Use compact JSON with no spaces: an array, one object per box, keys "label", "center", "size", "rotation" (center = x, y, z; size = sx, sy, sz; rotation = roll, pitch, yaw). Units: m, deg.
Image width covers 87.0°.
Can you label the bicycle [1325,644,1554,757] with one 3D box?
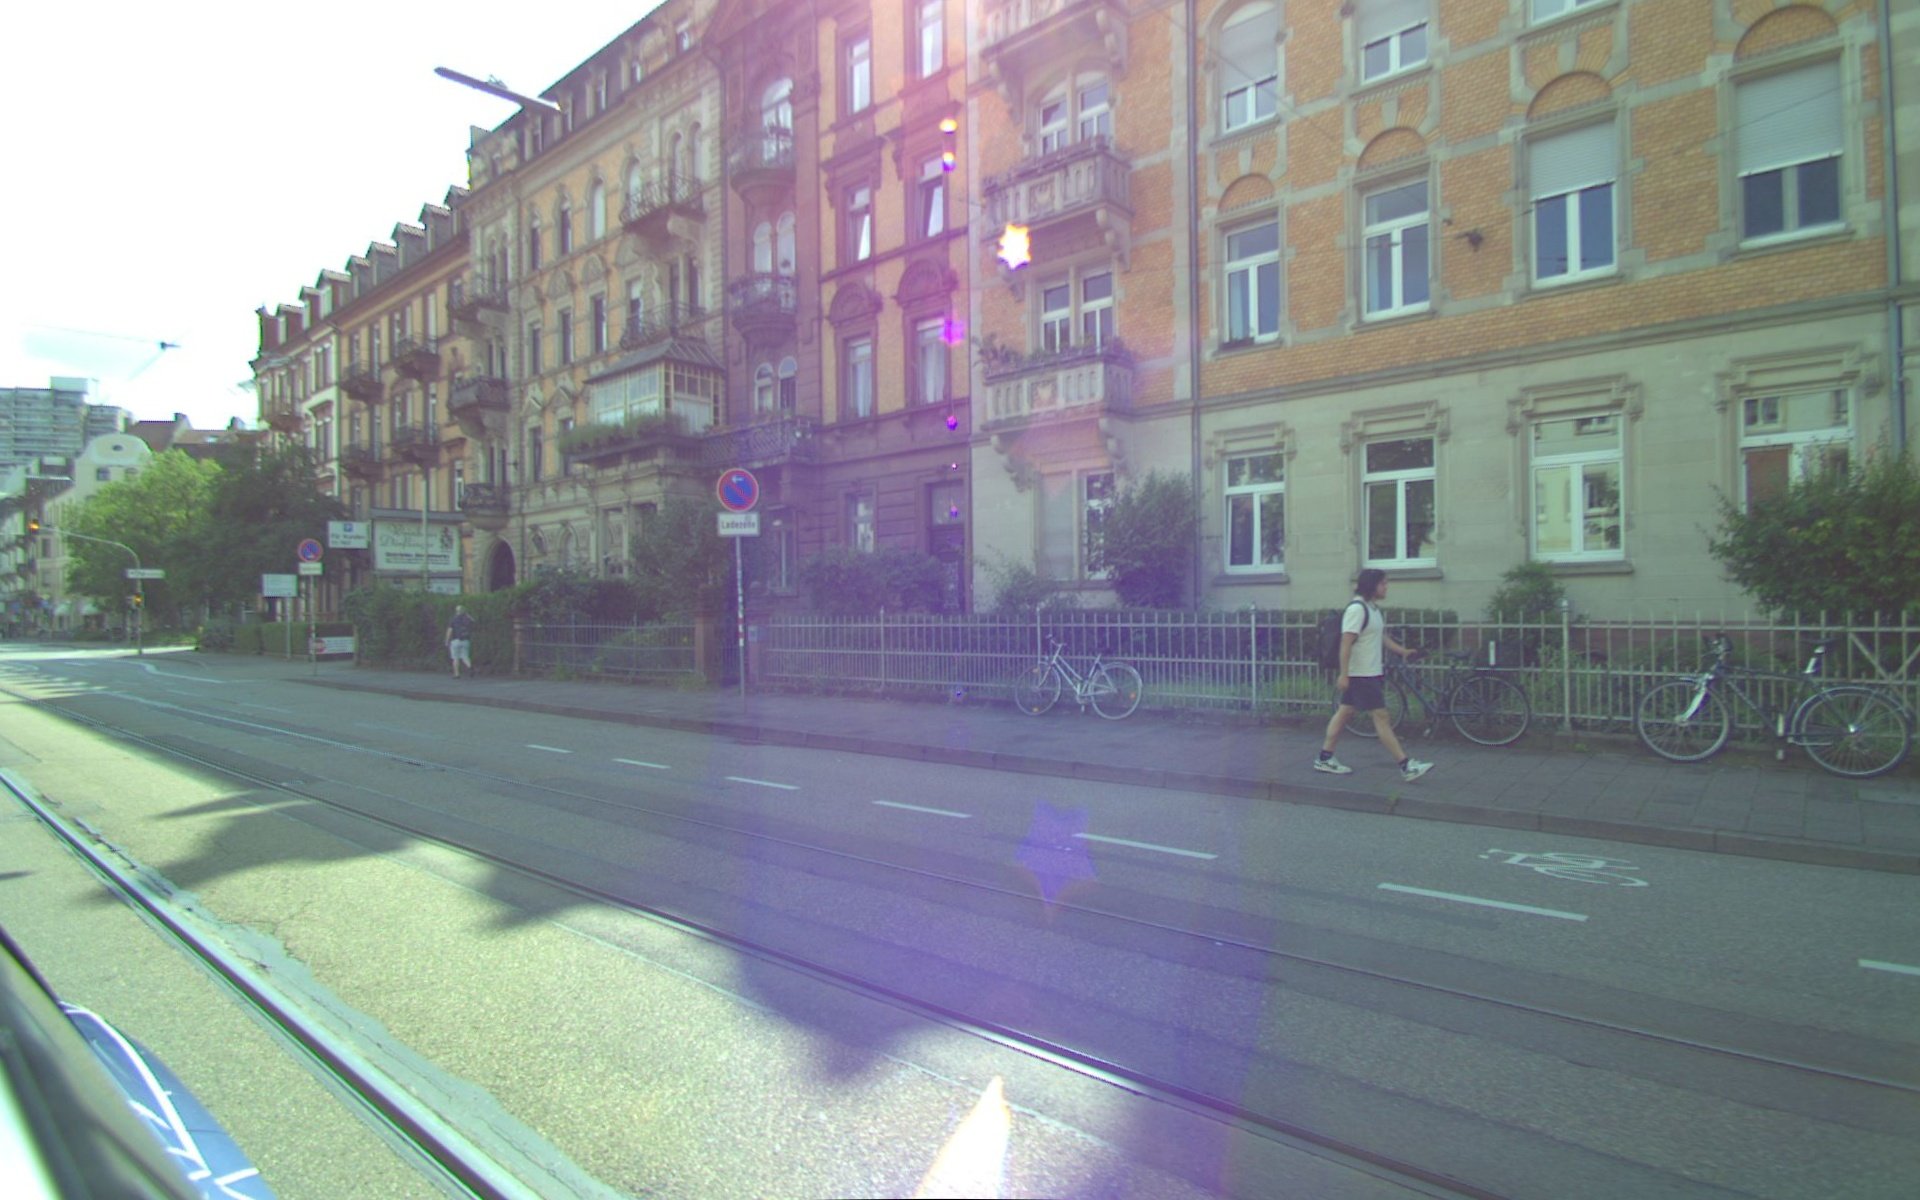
[{"label":"bicycle","center":[4.588,0.927,9.798],"size":[1.948,0.984,0.417],"rotation":[-2,-2,41]}]

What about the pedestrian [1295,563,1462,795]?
[{"label":"pedestrian","center":[3.422,0.607,8.304],"size":[1.105,1.773,0.527],"rotation":[-2,0,41]}]

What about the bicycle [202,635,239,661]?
[{"label":"bicycle","center":[-34.074,2.191,46.633],"size":[0.496,1.140,1.291],"rotation":[-2,-2,40]}]

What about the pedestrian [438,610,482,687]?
[{"label":"pedestrian","center":[-11.515,1.110,23.310],"size":[1.150,1.716,0.483],"rotation":[-2,-1,39]}]

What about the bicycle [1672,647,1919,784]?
[{"label":"bicycle","center":[6.809,0.873,7.947],"size":[1.948,0.984,0.417],"rotation":[-2,-2,41]}]

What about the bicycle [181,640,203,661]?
[{"label":"bicycle","center":[-35.614,2.347,46.920],"size":[1.826,0.939,0.553],"rotation":[-2,-2,44]}]

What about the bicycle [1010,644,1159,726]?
[{"label":"bicycle","center":[1.525,1.033,12.677],"size":[1.948,0.940,0.417],"rotation":[-2,-2,41]}]
